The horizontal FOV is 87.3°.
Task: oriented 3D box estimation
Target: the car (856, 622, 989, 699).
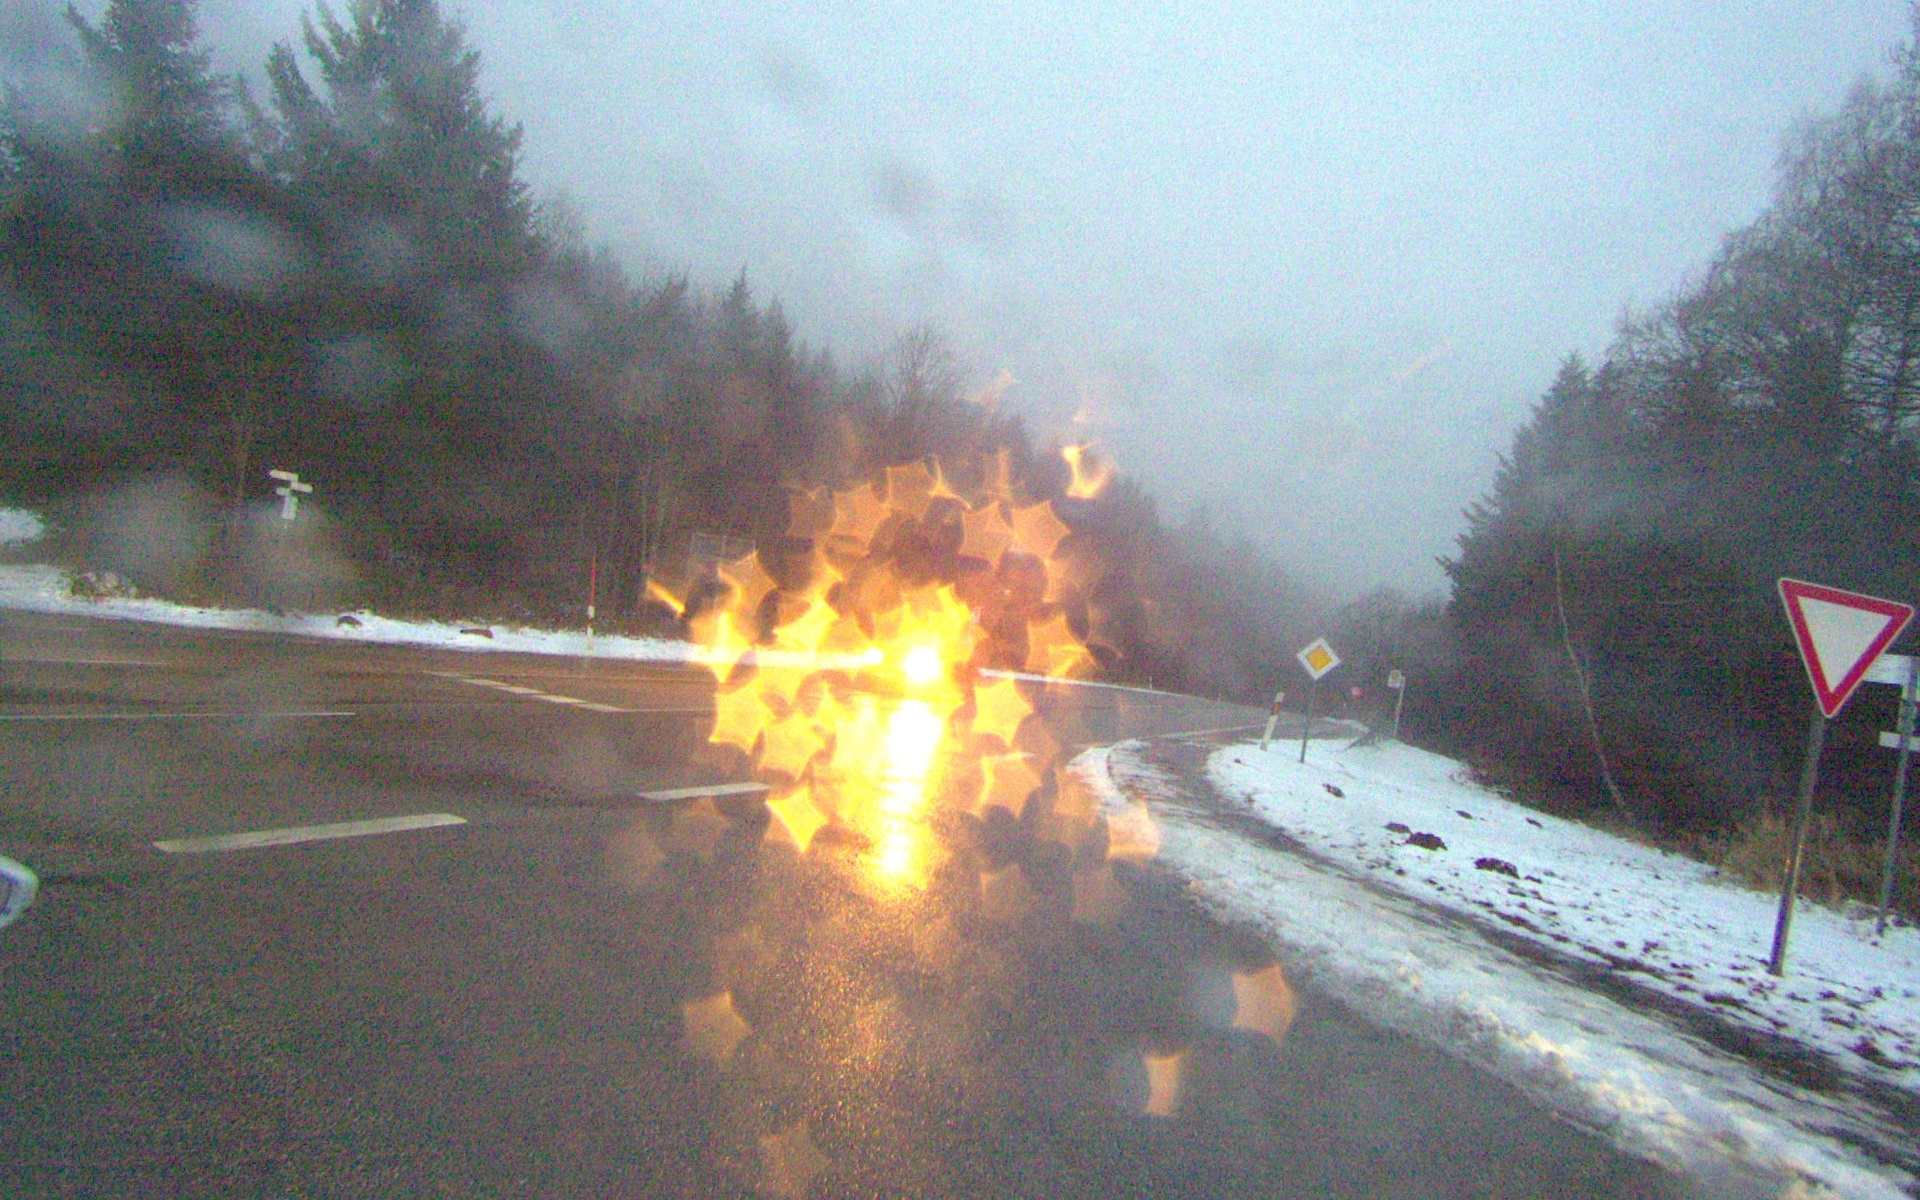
[{"bbox_3d":[-0.782,1.429,23.100,1.549,1.469,3.413,7,-2,25],"label":"car"}]
